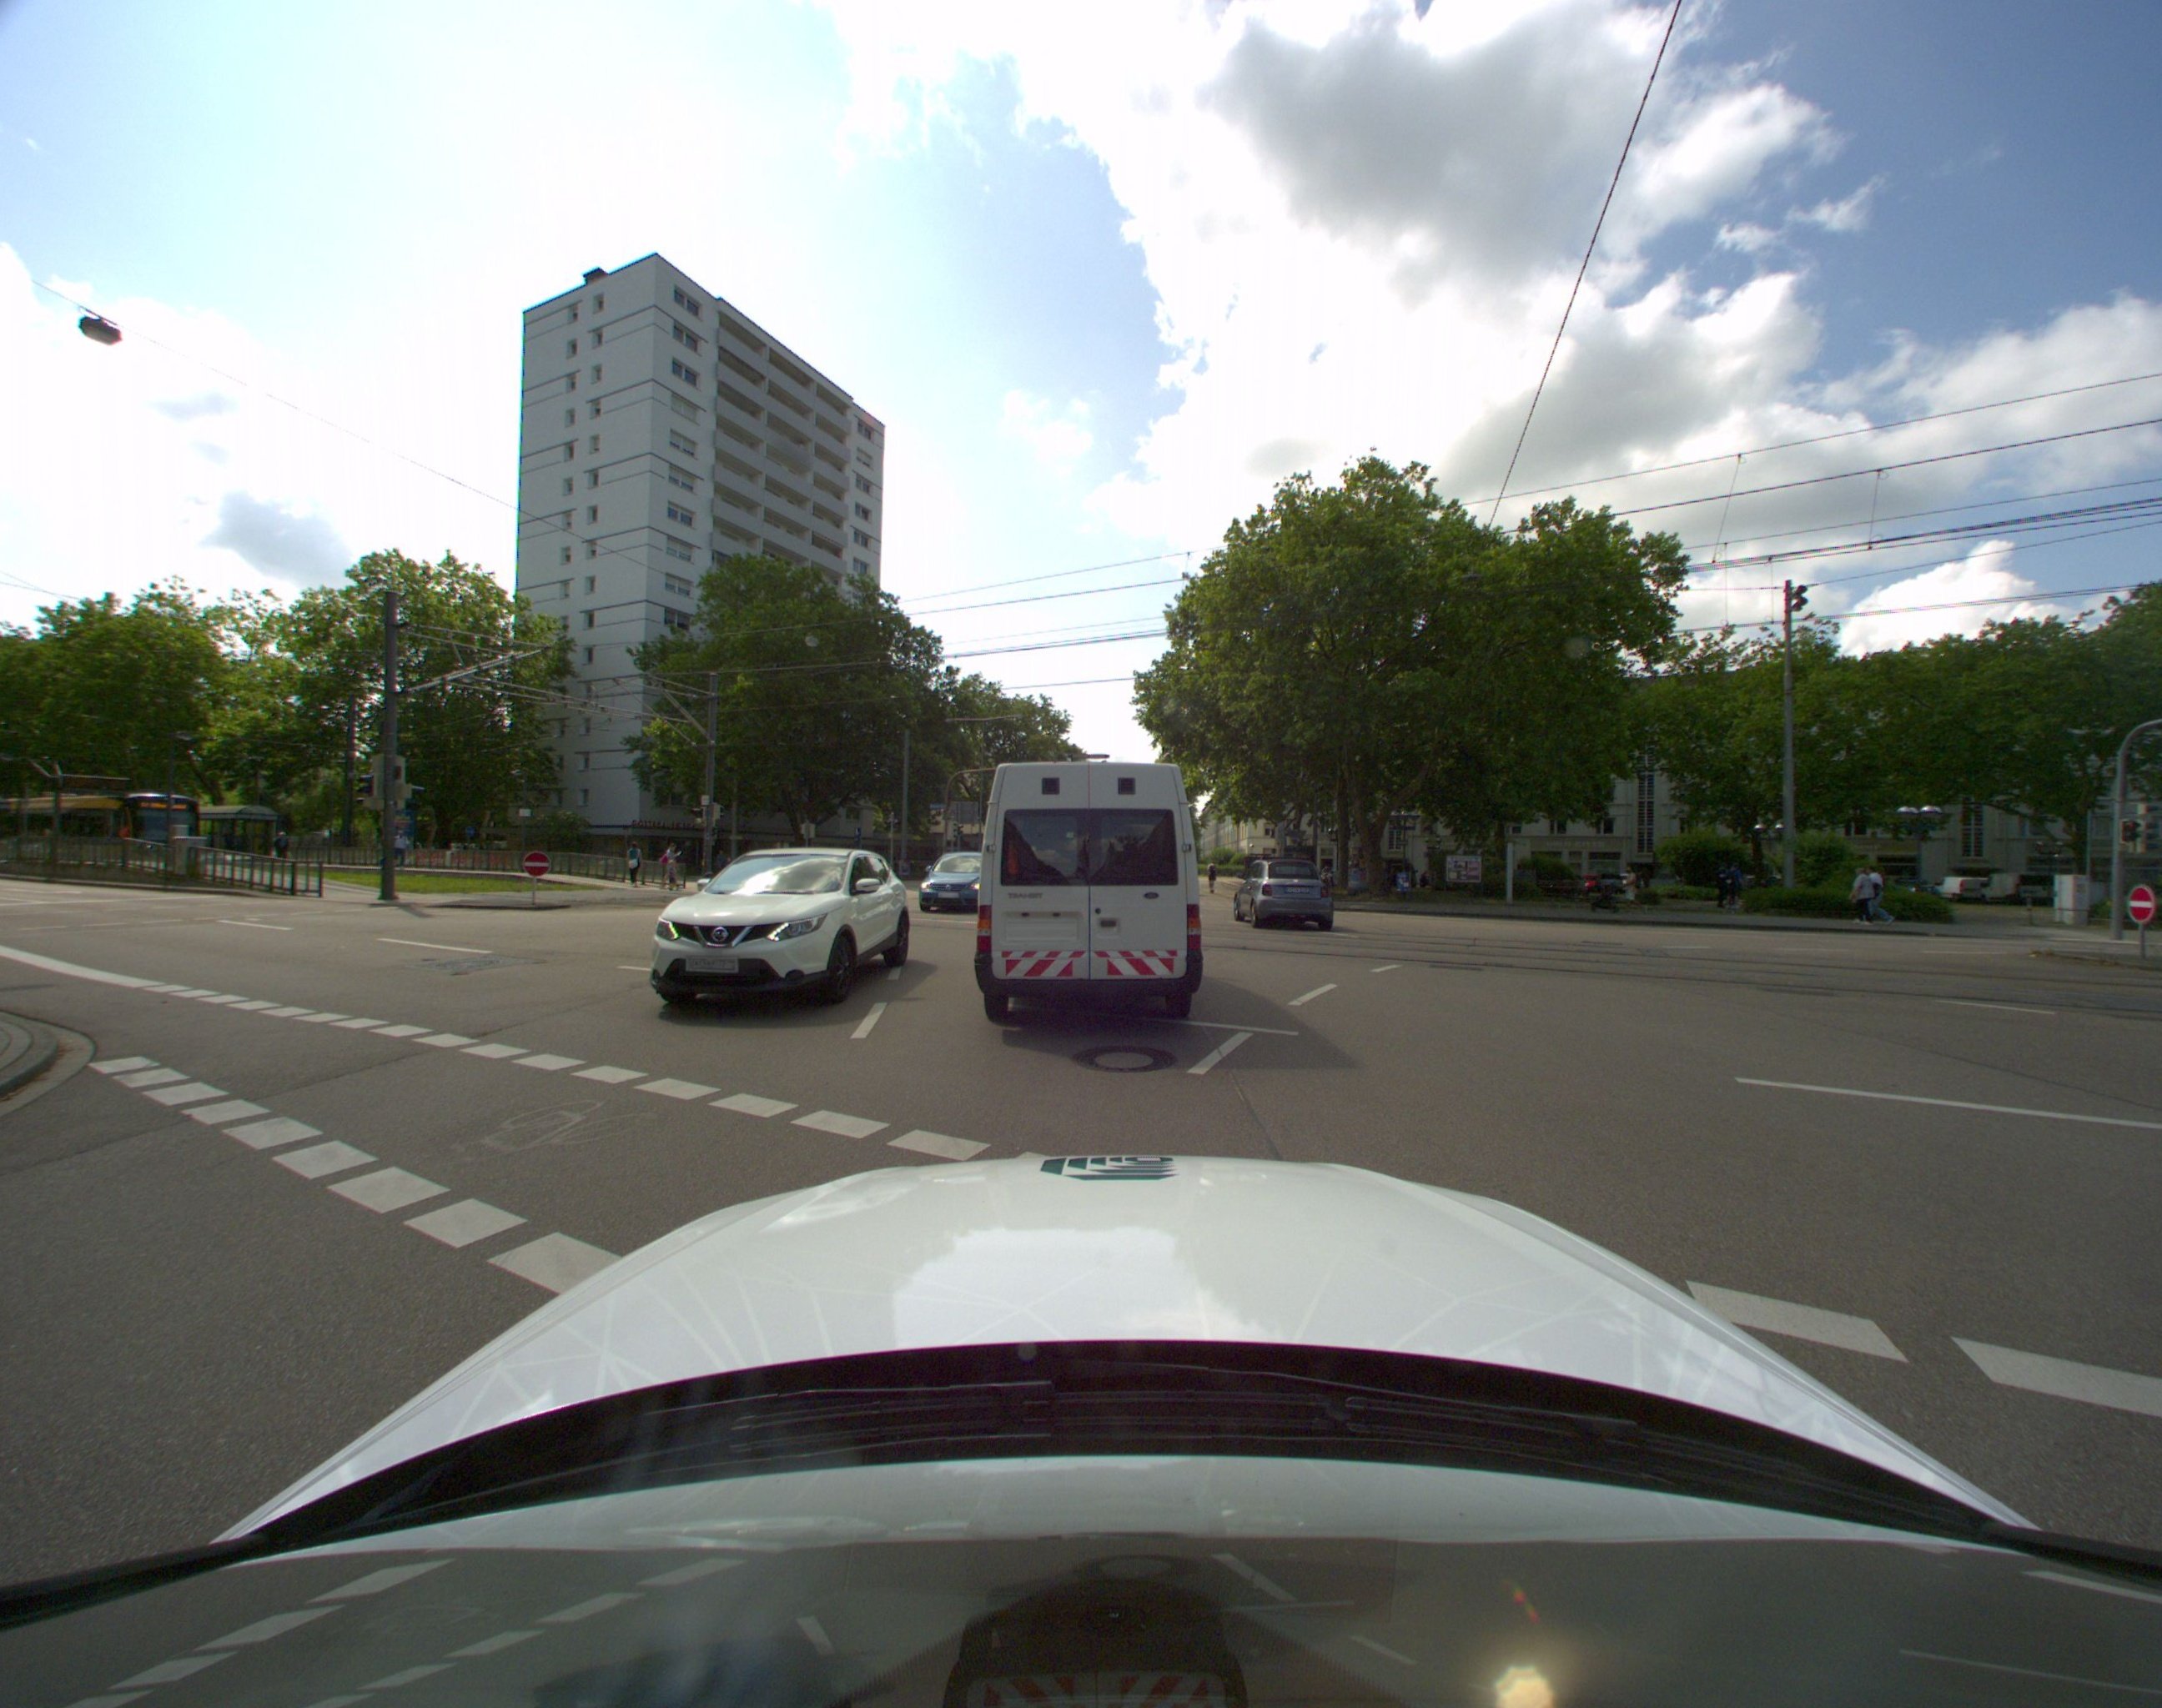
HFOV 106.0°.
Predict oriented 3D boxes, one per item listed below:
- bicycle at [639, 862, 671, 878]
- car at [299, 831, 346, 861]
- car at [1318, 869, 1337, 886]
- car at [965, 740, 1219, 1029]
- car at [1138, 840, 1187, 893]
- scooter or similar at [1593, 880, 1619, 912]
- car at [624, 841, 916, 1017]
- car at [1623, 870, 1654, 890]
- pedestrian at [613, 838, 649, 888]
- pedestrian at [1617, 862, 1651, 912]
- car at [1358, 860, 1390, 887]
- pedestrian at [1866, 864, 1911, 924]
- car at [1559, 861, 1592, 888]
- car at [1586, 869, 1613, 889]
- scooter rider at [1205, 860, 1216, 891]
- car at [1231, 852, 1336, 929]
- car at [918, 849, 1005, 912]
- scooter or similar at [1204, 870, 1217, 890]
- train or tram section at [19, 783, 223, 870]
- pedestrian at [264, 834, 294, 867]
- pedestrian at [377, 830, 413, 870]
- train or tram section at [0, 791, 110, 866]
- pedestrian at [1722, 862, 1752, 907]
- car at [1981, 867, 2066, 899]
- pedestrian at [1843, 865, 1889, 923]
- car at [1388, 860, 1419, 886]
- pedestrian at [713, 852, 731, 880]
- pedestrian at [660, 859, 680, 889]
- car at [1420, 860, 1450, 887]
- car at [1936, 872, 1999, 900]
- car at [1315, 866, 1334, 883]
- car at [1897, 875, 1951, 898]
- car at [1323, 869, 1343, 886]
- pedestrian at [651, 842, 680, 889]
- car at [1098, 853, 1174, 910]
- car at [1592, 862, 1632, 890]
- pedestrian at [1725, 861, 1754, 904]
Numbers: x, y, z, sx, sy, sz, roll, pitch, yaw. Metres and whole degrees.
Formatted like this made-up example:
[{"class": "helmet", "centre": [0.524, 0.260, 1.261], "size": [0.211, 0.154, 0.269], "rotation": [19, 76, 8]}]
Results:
[{"class": "bicycle", "centre": [-27.349, 1.009, 52.270], "size": [1.736, 1.009, 0.528], "rotation": [2, -1, -37]}, {"class": "car", "centre": [-72.575, -0.732, 77.914], "size": [4.225, 2.775, 1.823], "rotation": [1, -1, 25]}, {"class": "car", "centre": [20.206, 1.915, 66.716], "size": [1.454, 1.389, 3.080], "rotation": [1, -1, 18]}, {"class": "car", "centre": [0.064, 0.250, 9.011], "size": [2.041, 2.333, 4.712], "rotation": [1, 0, -1]}, {"class": "car", "centre": [4.356, 0.627, 44.453], "size": [2.112, 2.641, 6.329], "rotation": [1, 0, 1]}, {"class": "scooter or similar", "centre": [18.173, 1.437, 28.196], "size": [0.699, 1.056, 0.494], "rotation": [1, -1, 28]}, {"class": "car", "centre": [-3.204, 0.670, 9.337], "size": [1.764, 1.582, 4.020], "rotation": [0, 0, 0]}, {"class": "car", "centre": [47.787, 2.176, 69.862], "size": [1.722, 1.637, 4.024], "rotation": [0, -1, 28]}, {"class": "pedestrian", "centre": [-17.295, 0.354, 31.314], "size": [0.836, 1.899, 0.834], "rotation": [0, -1, 26]}, {"class": "pedestrian", "centre": [18.877, 1.122, 27.810], "size": [0.911, 1.646, 0.573], "rotation": [1, -1, 28]}, {"class": "car", "centre": [24.985, 1.686, 69.349], "size": [1.975, 2.183, 4.282], "rotation": [1, -1, 27]}, {"class": "pedestrian", "centre": [24.411, 1.187, 24.635], "size": [0.665, 1.764, 0.693], "rotation": [1, -1, 2]}, {"class": "car", "centre": [38.486, 1.595, 63.444], "size": [1.975, 2.014, 4.023], "rotation": [0, -1, 27]}, {"class": "car", "centre": [45.285, 2.153, 71.172], "size": [1.722, 1.637, 4.024], "rotation": [0, -1, 28]}, {"class": "scooter rider", "centre": [7.577, 1.257, 47.583], "size": [0.524, 1.812, 0.649], "rotation": [1, -1, 1]}, {"class": "car", "centre": [4.486, 0.749, 18.499], "size": [1.684, 1.538, 3.471], "rotation": [1, 0, 3]}, {"class": "car", "centre": [-3.123, 0.661, 21.950], "size": [1.741, 1.540, 3.931], "rotation": [1, 0, 0]}, {"class": "scooter or similar", "centre": [7.570, 1.509, 47.610], "size": [0.547, 1.091, 1.292], "rotation": [1, 0, 2]}, {"class": "train or tram section", "centre": [-44.852, -1.196, 37.887], "size": [12.855, 3.584, 2.832], "rotation": [1, -1, 25]}, {"class": "pedestrian", "centre": [-43.183, -0.196, 43.871], "size": [0.866, 1.775, 0.865], "rotation": [0, -1, 26]}, {"class": "pedestrian", "centre": [-31.255, -0.166, 37.101], "size": [1.032, 1.780, 0.856], "rotation": [1, -1, 26]}, {"class": "train or tram section", "centre": [-55.322, -1.292, 42.856], "size": [10.275, 3.584, 2.821], "rotation": [1, -1, 25]}, {"class": "pedestrian", "centre": [25.671, 1.188, 31.875], "size": [0.694, 1.750, 0.606], "rotation": [1, -1, 2]}, {"class": "car", "centre": [60.248, 1.818, 52.164], "size": [2.078, 1.905, 4.518], "rotation": [0, -1, 28]}, {"class": "pedestrian", "centre": [23.713, 1.192, 24.606], "size": [0.714, 1.722, 0.693], "rotation": [1, -1, 2]}, {"class": "car", "centre": [27.070, 1.593, 68.296], "size": [1.975, 2.076, 4.023], "rotation": [1, -1, 27]}, {"class": "pedestrian", "centre": [-21.144, 0.712, 47.983], "size": [0.775, 1.599, 0.538], "rotation": [1, -1, 23]}, {"class": "pedestrian", "centre": [-14.564, 0.712, 28.866], "size": [0.431, 1.063, 0.423], "rotation": [1, -1, 30]}, {"class": "car", "centre": [29.113, 1.606, 66.900], "size": [1.975, 2.076, 4.023], "rotation": [1, -1, 27]}, {"class": "car", "centre": [66.495, 2.374, 61.177], "size": [1.975, 1.964, 4.024], "rotation": [0, -1, 28]}, {"class": "car", "centre": [24.425, 2.025, 81.613], "size": [1.453, 1.666, 3.083], "rotation": [1, -1, 22]}, {"class": "car", "centre": [64.175, 2.451, 62.073], "size": [1.722, 1.637, 4.024], "rotation": [0, -1, 28]}, {"class": "car", "centre": [21.800, 2.007, 70.391], "size": [1.453, 1.389, 3.251], "rotation": [1, -1, 19]}, {"class": "pedestrian", "centre": [-14.980, 0.425, 29.364], "size": [0.667, 1.666, 0.629], "rotation": [1, -1, 29]}, {"class": "car", "centre": [1.518, 0.747, 23.948], "size": [1.810, 1.506, 4.127], "rotation": [1, 0, -2]}, {"class": "car", "centre": [40.468, 1.664, 62.111], "size": [1.975, 2.014, 4.022], "rotation": [0, -1, 24]}, {"class": "pedestrian", "centre": [26.935, 1.153, 33.303], "size": [0.694, 1.750, 0.606], "rotation": [1, -1, 2]}]
